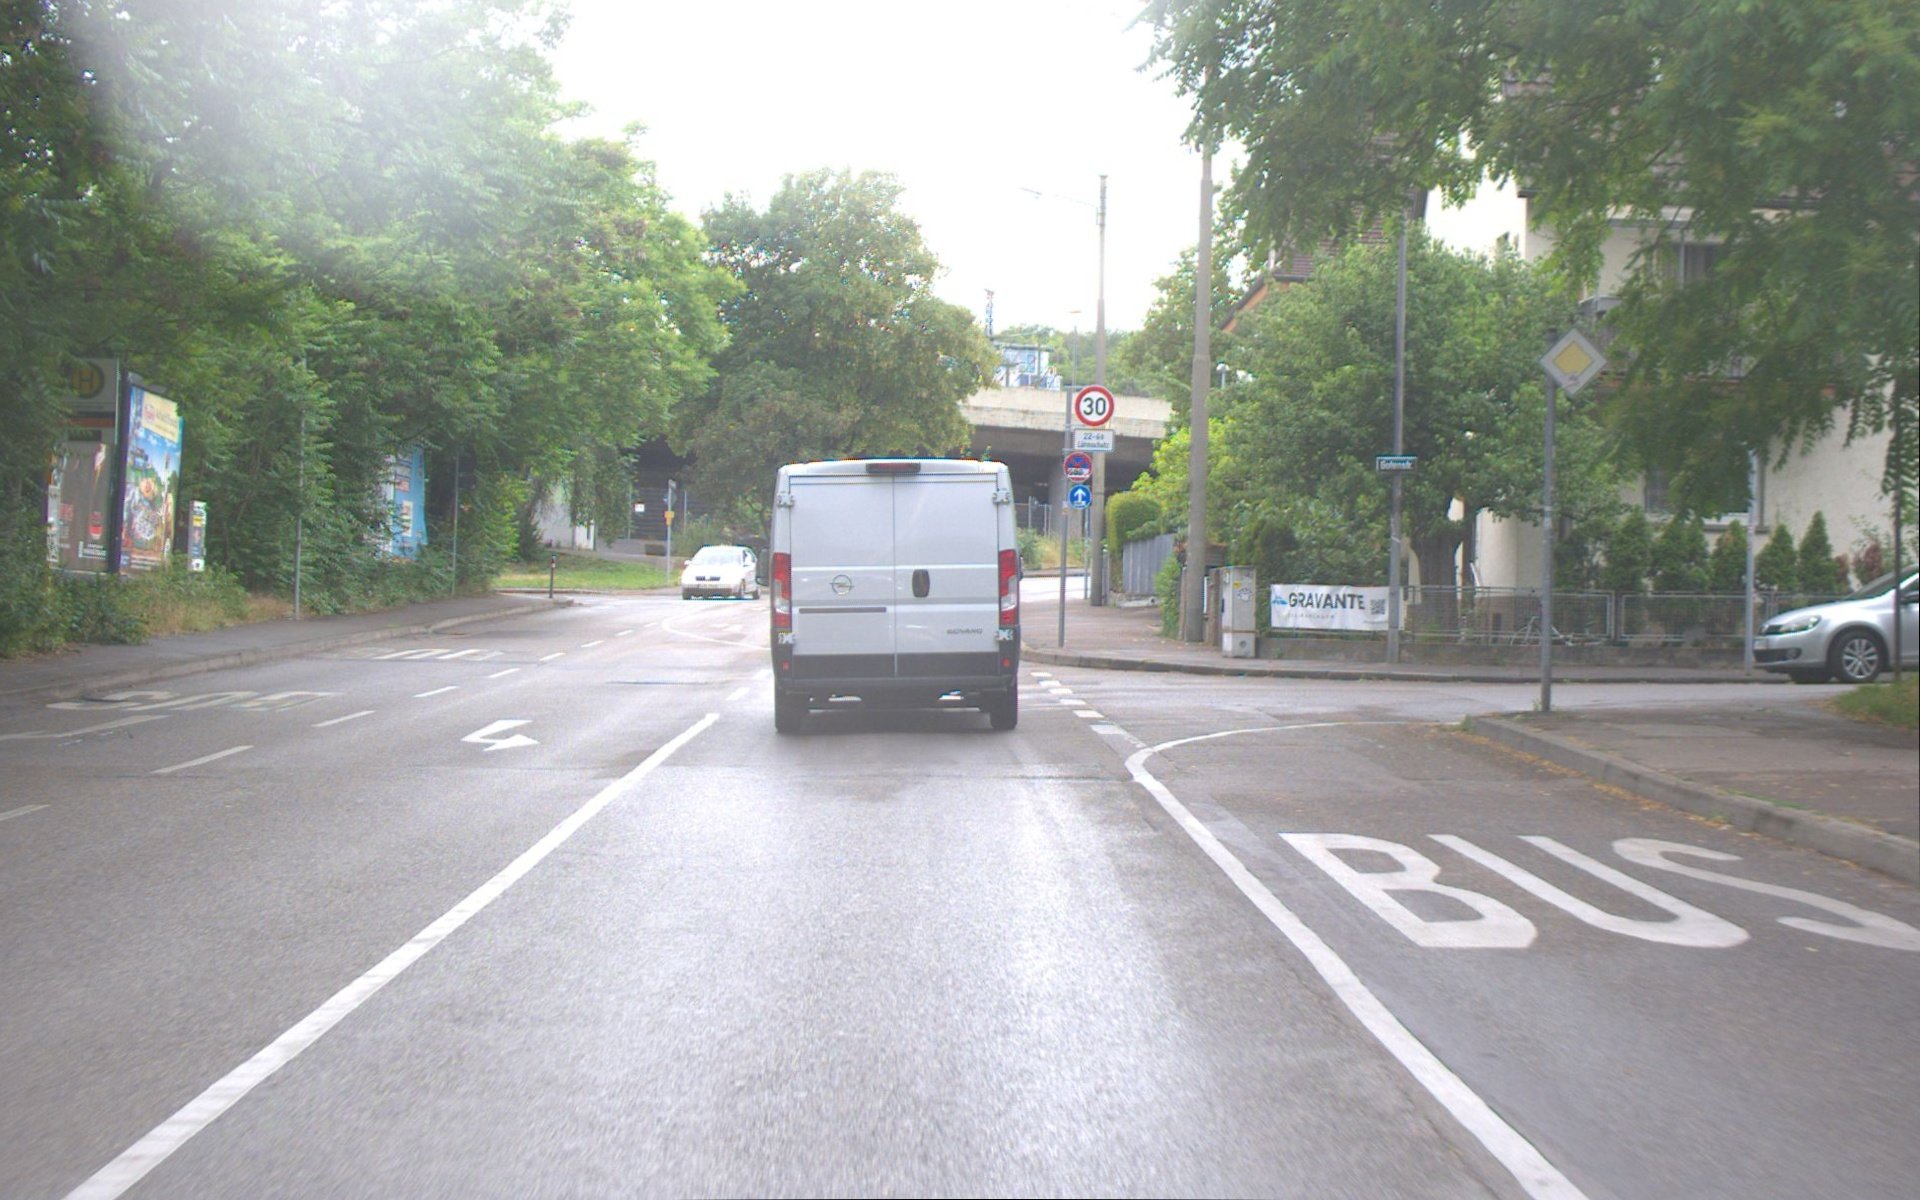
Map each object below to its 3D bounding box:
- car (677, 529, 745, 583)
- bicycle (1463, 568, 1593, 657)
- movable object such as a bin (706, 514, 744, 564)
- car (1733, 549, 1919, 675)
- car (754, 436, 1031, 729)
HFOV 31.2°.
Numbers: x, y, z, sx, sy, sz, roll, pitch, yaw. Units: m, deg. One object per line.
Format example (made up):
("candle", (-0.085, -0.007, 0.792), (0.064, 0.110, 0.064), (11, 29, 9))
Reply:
("car", (-6.745, -1.213, 93.375), (1.654, 1.412, 3.936), (-1, 1, -1))
("bicycle", (7.184, 0.158, 43.501), (1.571, 1.111, 0.457), (0, 1, 4))
("movable object such as a bin", (-7.863, -2.041, 115.288), (0.940, 1.558, 1.130), (7, 1, 4))
("car", (11.132, 0.150, 39.672), (3.986, 1.418, 1.704), (0, -1, -3))
("car", (-0.658, -0.147, 30.032), (2.146, 2.276, 5.063), (2, 0, -3))
